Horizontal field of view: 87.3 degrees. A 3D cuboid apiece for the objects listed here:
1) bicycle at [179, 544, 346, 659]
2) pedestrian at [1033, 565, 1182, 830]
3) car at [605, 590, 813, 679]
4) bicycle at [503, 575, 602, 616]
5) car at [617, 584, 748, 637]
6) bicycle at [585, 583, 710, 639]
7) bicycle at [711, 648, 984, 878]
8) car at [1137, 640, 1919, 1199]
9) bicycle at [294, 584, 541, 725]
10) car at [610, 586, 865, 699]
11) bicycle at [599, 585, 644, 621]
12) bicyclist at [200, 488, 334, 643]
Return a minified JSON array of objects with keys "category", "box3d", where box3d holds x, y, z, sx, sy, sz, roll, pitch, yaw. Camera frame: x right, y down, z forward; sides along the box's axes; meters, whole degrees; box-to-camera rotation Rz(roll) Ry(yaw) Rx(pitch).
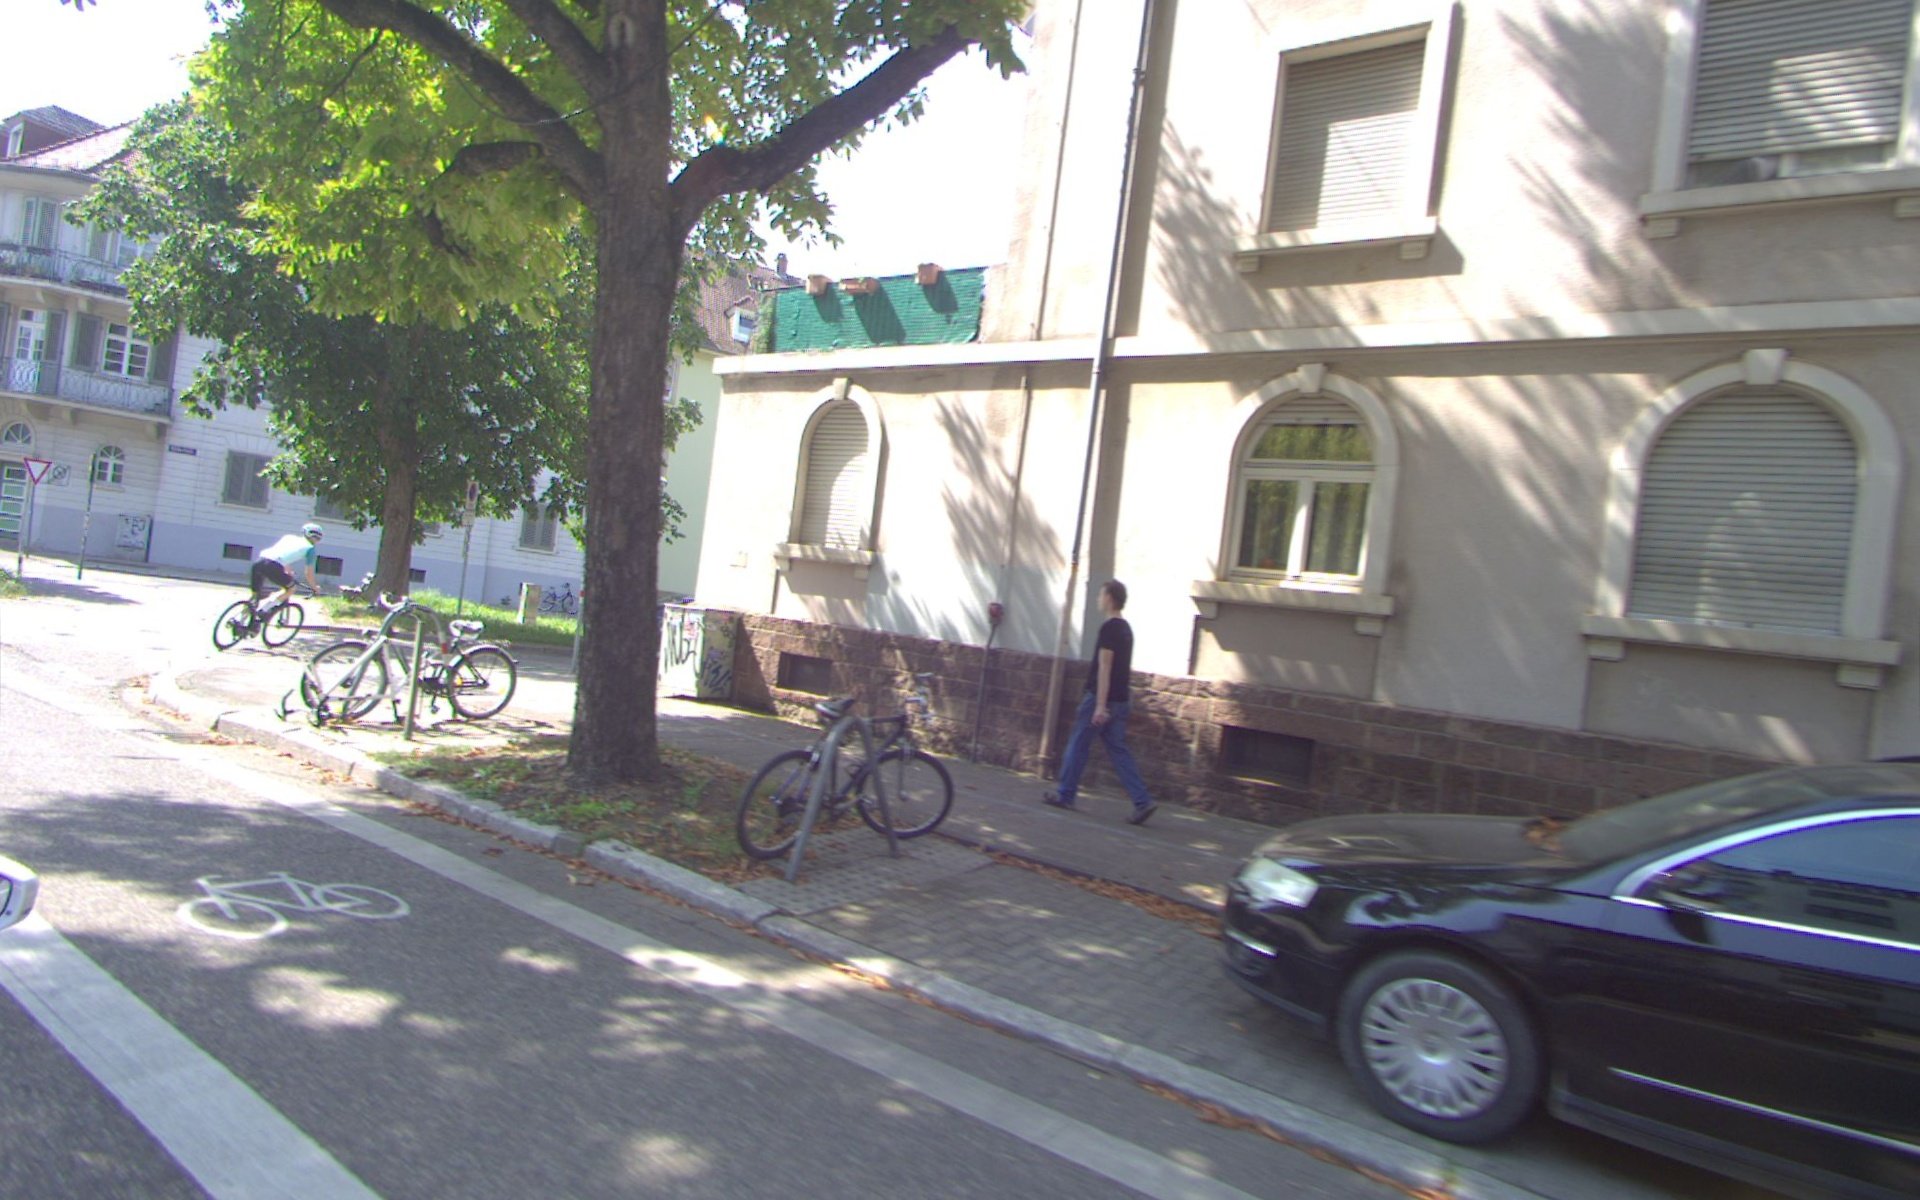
[{"category":"bicycle","box3d":[-9.373,-0.012,13.686,1.136,1.284,2.699,8,-1,-21]},{"category":"pedestrian","box3d":[1.164,0.742,7.900,0.703,1.914,0.707,7,0,35]},{"category":"car","box3d":[-5.335,0.745,21.468,3.908,1.363,1.750,9,-3,-29]},{"category":"bicycle","box3d":[-15.112,-0.163,37.314,3.183,1.040,1.154,10,-3,-32]},{"category":"car","box3d":[-10.129,0.391,36.759,4.237,1.398,1.671,9,-3,-29]},{"category":"bicycle","box3d":[-9.036,0.326,29.182,3.183,1.125,1.154,10,-2,-32]},{"category":"bicycle","box3d":[-0.594,0.937,5.971,0.371,1.150,1.722,7,-1,39]},{"category":"car","box3d":[3.212,1.226,3.349,4.702,1.551,1.842,7,0,33]},{"category":"bicycle","box3d":[-4.586,0.501,8.638,0.557,1.044,1.715,7,-1,34]},{"category":"car","box3d":[-3.597,0.707,16.438,3.577,1.363,1.746,9,-3,-34]},{"category":"bicycle","box3d":[-12.836,0.116,38.109,1.003,1.131,2.255,9,-2,-31]},{"category":"bicyclist","box3d":[-9.228,-0.438,13.463,1.114,1.859,0.951,7,-1,-23]}]
